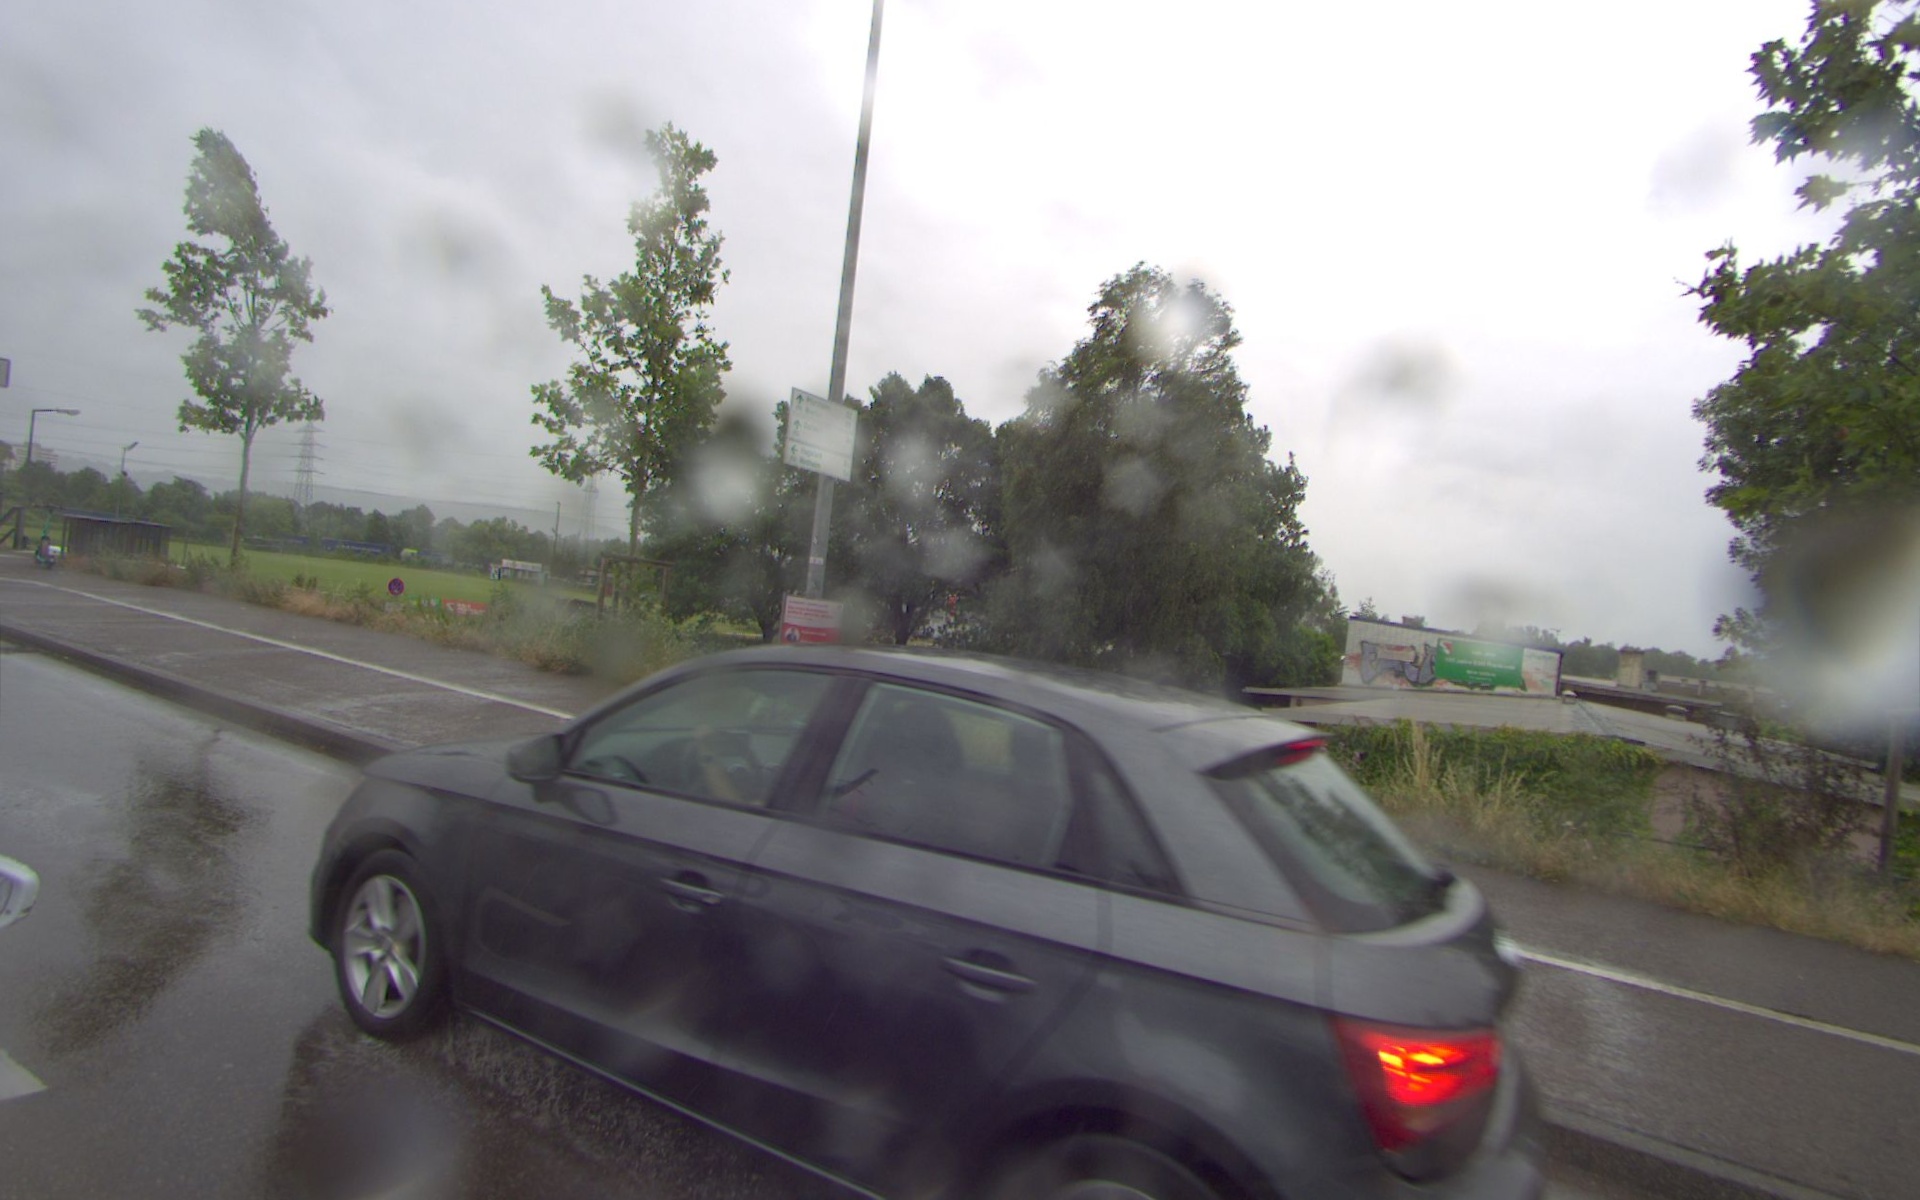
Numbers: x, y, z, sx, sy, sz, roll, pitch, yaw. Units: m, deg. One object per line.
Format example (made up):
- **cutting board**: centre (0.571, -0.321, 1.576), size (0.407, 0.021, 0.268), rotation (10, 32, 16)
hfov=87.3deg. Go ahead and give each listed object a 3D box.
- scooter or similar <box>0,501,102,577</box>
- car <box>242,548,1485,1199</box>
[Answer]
- **scooter or similar**: centre (-17.854, -1.215, 19.723), size (2.971, 1.226, 0.691), rotation (7, 0, 33)
- **car**: centre (-0.441, 0.723, 3.196), size (3.570, 1.383, 1.599), rotation (6, 0, 30)
